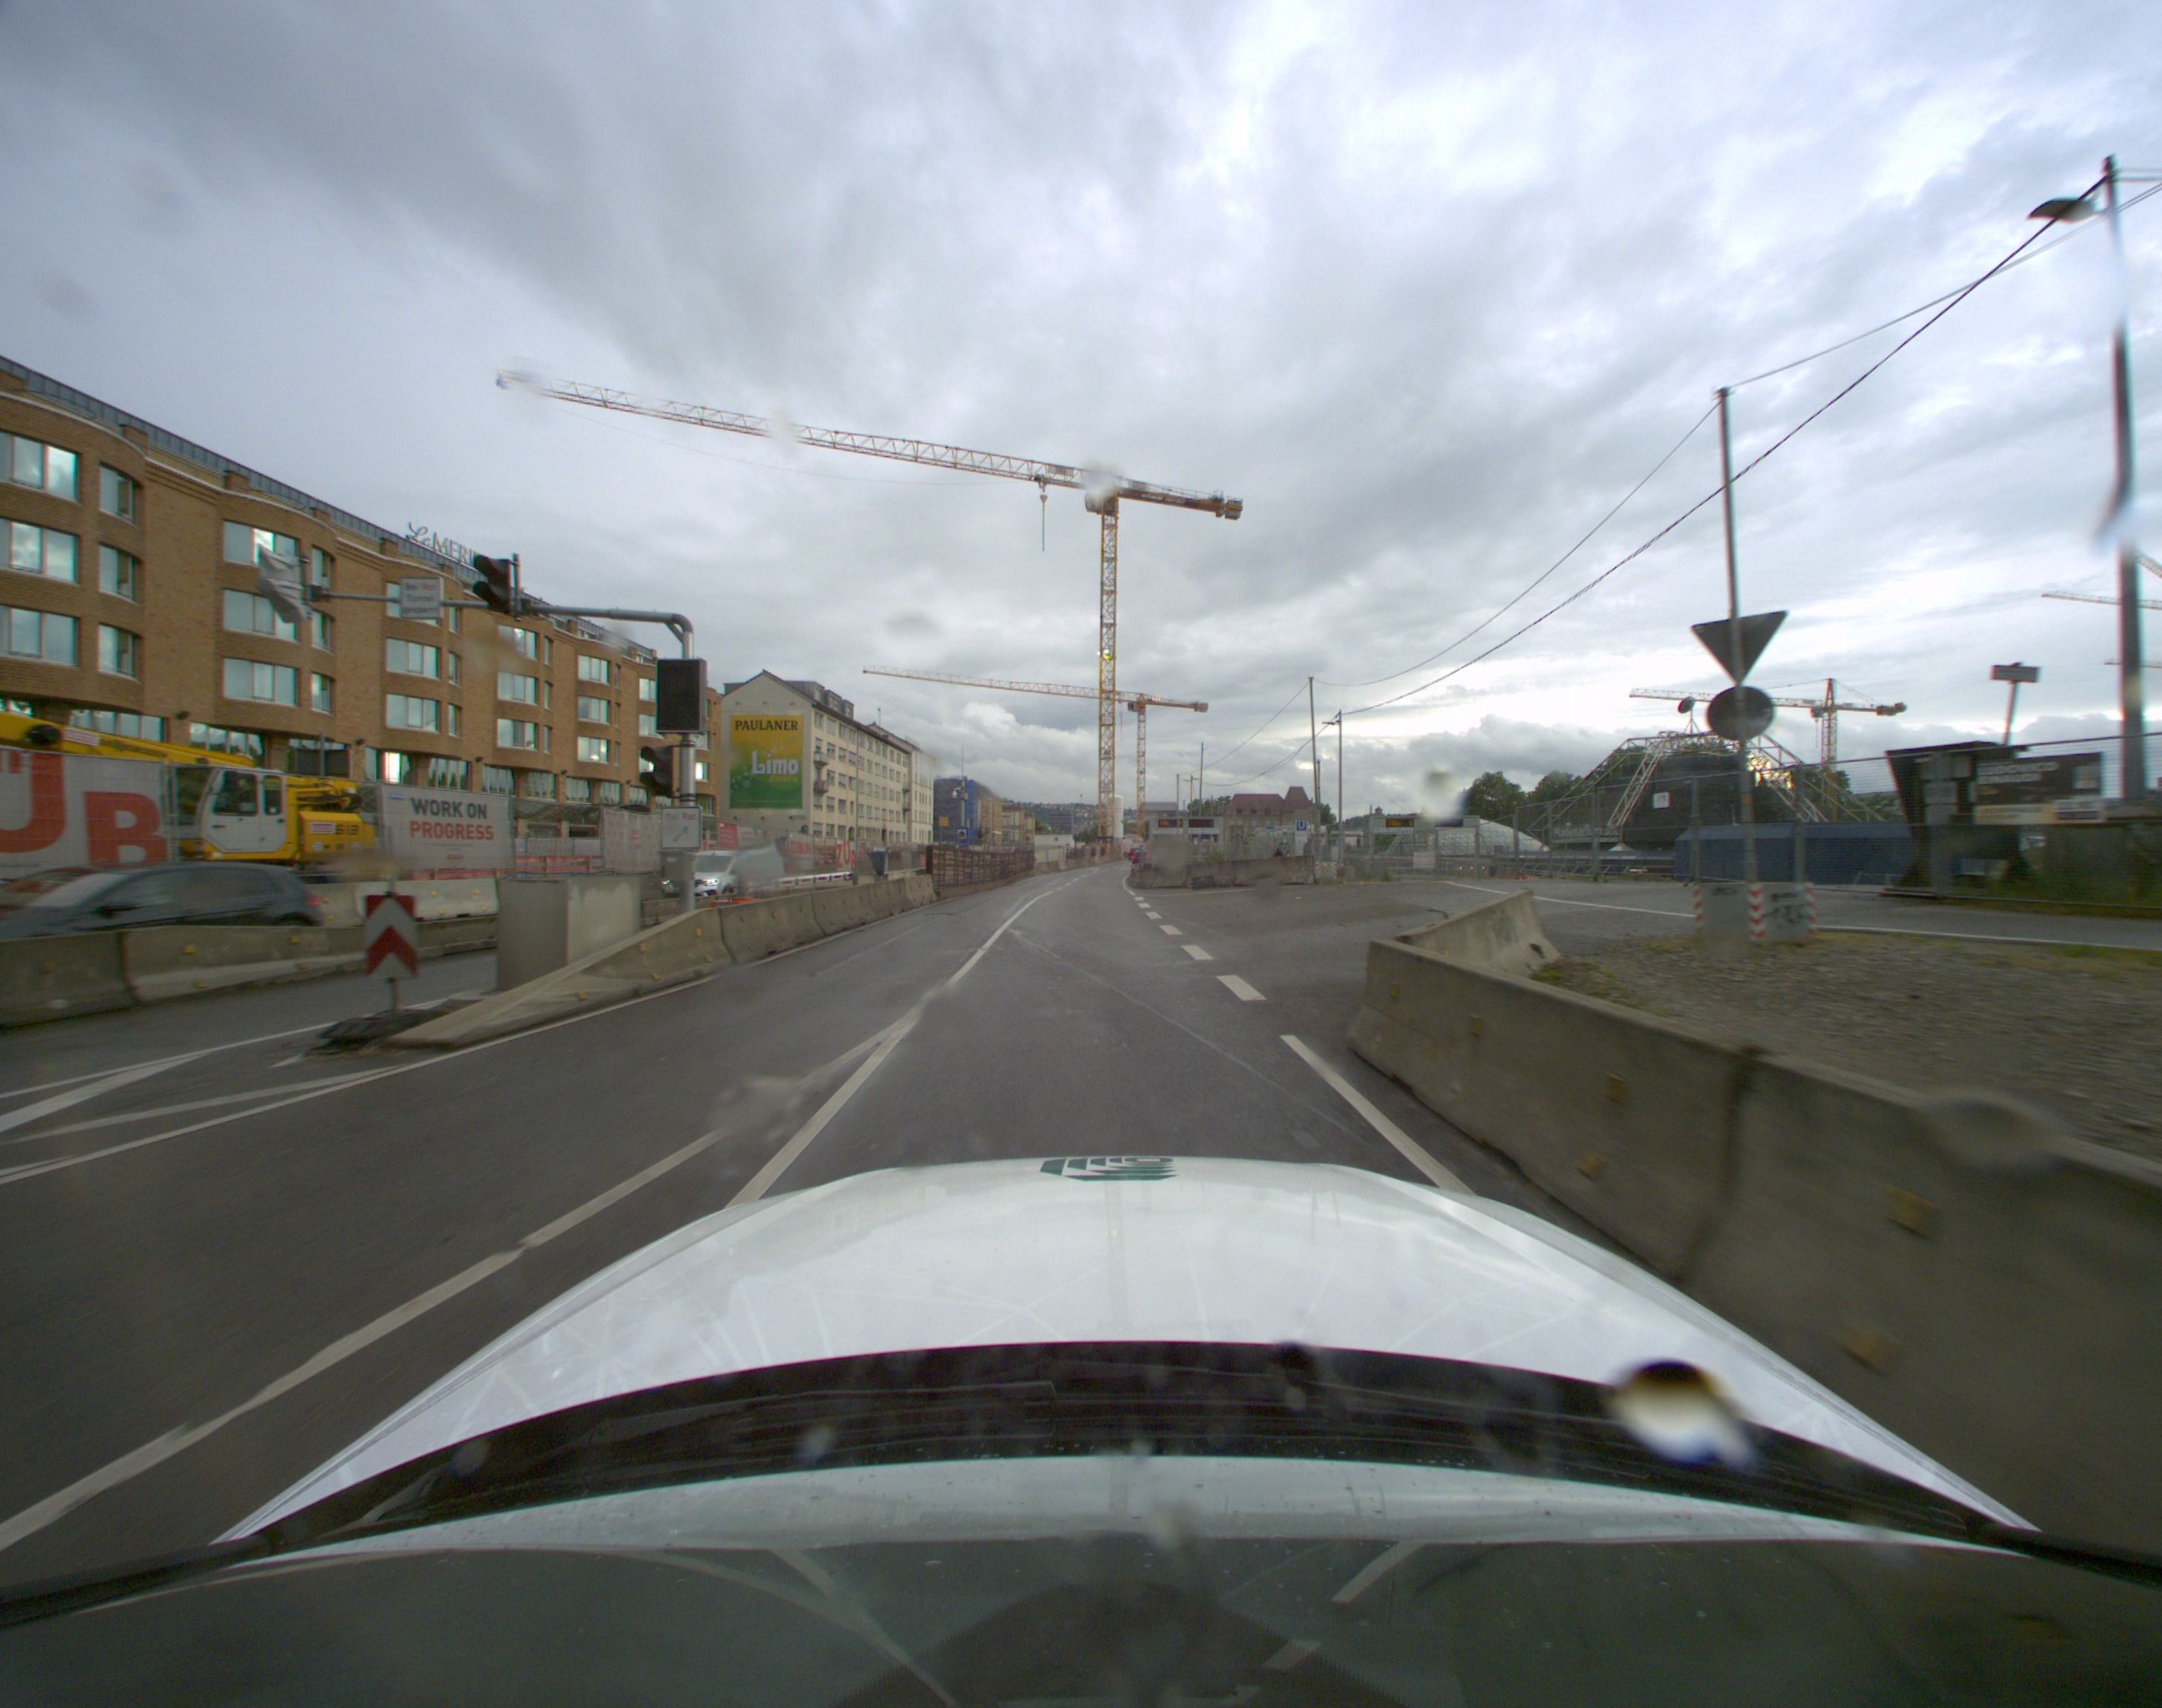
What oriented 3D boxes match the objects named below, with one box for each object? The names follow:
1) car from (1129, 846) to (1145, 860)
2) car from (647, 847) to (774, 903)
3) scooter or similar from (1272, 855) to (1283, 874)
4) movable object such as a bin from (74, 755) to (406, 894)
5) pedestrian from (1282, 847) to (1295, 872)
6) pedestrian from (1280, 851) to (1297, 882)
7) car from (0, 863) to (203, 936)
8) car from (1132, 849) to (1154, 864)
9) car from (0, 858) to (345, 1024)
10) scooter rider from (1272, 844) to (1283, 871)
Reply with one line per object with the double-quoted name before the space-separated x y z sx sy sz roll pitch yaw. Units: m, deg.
"car" 6.999 -0.187 100.988 1.854 1.660 4.663 0 1 5
"car" -11.442 0.587 25.541 1.740 1.549 4.526 -1 1 2
"scooter or similar" 12.763 0.681 52.834 0.486 1.179 1.102 -1 1 25
"movable object such as a bin" -16.316 -0.533 16.230 2.020 2.277 4.292 -4 1 -1
"pedestrian" 14.968 0.414 58.781 0.686 1.778 1.024 -1 -1 4
"pedestrian" 11.999 0.698 47.150 0.689 1.778 0.813 -1 -1 -9
"car" -27.300 1.203 22.336 1.987 1.693 4.000 -3 0 0
"car" 6.168 0.238 80.754 1.853 1.433 4.666 -1 0 7
"car" -12.140 0.940 10.275 1.797 1.623 4.039 0 1 5
"scooter rider" 12.758 0.215 52.829 0.516 1.755 0.703 -1 1 25
